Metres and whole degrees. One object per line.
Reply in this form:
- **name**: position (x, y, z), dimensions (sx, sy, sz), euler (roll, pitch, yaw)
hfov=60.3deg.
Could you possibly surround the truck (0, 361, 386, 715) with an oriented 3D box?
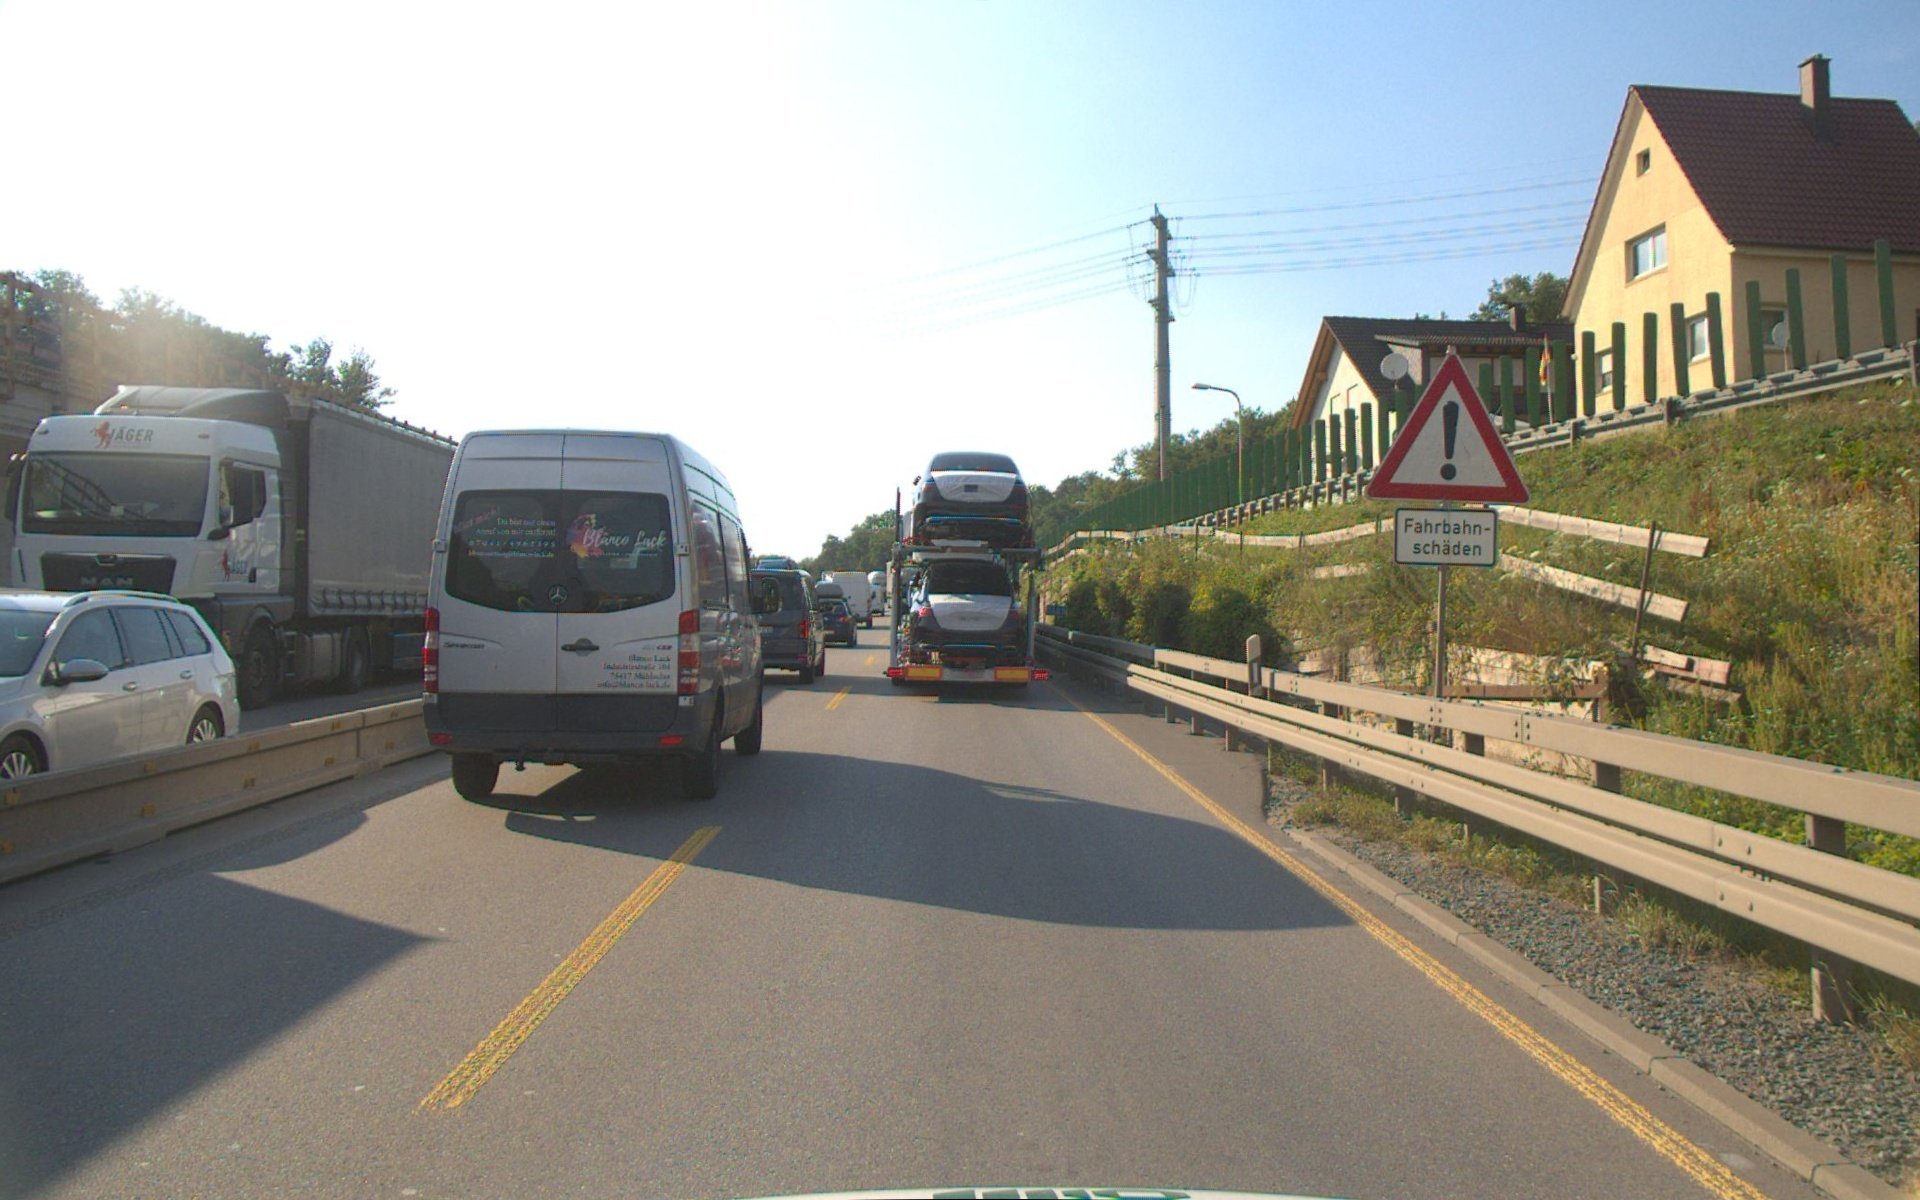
- **truck**: position (-10.044, -0.682, 22.092), dimensions (2.802, 4.078, 5.656), euler (1, -1, -2)

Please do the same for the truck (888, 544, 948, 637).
- **truck**: position (-2.258, -0.482, 87.314), dimensions (2.850, 4.687, 7.280), euler (0, 0, -4)

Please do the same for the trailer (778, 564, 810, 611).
- **trailer**: position (-15.225, -1.214, 152.381), dimensions (2.656, 4.164, 12.559), euler (0, 1, -4)

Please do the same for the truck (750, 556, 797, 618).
- **truck**: position (-13.365, -0.935, 118.876), dimensions (2.572, 4.184, 9.622), euler (-2, 0, -3)

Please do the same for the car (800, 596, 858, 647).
- **car**: position (-4.226, 0.661, 53.697), dimensions (1.691, 1.549, 3.971), euler (1, 0, -2)

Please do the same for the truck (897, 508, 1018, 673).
- **truck**: position (-0.110, -0.165, 40.153), dimensions (2.628, 3.597, 7.192), euler (1, -1, -1)

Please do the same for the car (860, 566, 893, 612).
- **car**: position (-9.680, -1.219, 190.623), dimensions (3.378, 5.123, 9.641), euler (1, 0, -5)

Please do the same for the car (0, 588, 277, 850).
- **car**: position (-6.313, 0.686, 11.215), dimensions (1.608, 1.484, 4.593), euler (1, -1, -3)

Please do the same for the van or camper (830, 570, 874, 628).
- **van or camper**: position (-5.139, -0.016, 79.384), dimensions (1.929, 2.637, 5.038), euler (1, -1, -3)

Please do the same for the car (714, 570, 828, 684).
- **car**: position (-3.410, 0.503, 30.498), dimensions (1.772, 1.937, 3.997), euler (1, -1, -3)

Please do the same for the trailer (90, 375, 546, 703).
- **trailer**: position (-10.240, -0.713, 28.857), dimensions (2.854, 4.314, 13.763), euler (1, -1, -2)

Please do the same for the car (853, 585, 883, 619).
- **car**: position (-6.040, 0.124, 108.812), dimensions (1.847, 2.137, 3.764), euler (1, 0, -2)

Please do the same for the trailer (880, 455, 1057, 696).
- **trailer**: position (0.029, -0.274, 32.588), dimensions (2.628, 3.597, 15.284), euler (1, -1, -1)

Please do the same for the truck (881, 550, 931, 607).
- **truck**: position (-4.568, -1.790, 142.721), dimensions (3.982, 4.761, 10.590), euler (0, 0, 0)

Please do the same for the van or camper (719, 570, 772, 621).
- **van or camper**: position (-12.065, -0.265, 93.441), dimensions (2.265, 2.709, 6.453), euler (-2, 0, -1)

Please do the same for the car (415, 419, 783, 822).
- **car**: position (-2.718, 0.124, 13.890), dimensions (1.953, 2.694, 5.529), euler (0, 0, -1)

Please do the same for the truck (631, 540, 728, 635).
- **truck**: position (-11.118, -0.409, 66.348), dimensions (2.660, 3.484, 8.137), euler (-2, -1, -2)

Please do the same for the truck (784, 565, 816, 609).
- **truck**: position (-16.500, -1.277, 171.265), dimensions (2.924, 4.226, 15.840), euler (1, 0, -5)

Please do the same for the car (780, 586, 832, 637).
- **car**: position (-7.930, 0.581, 85.391), dimensions (2.422, 2.578, 3.998), euler (0, -1, -2)
